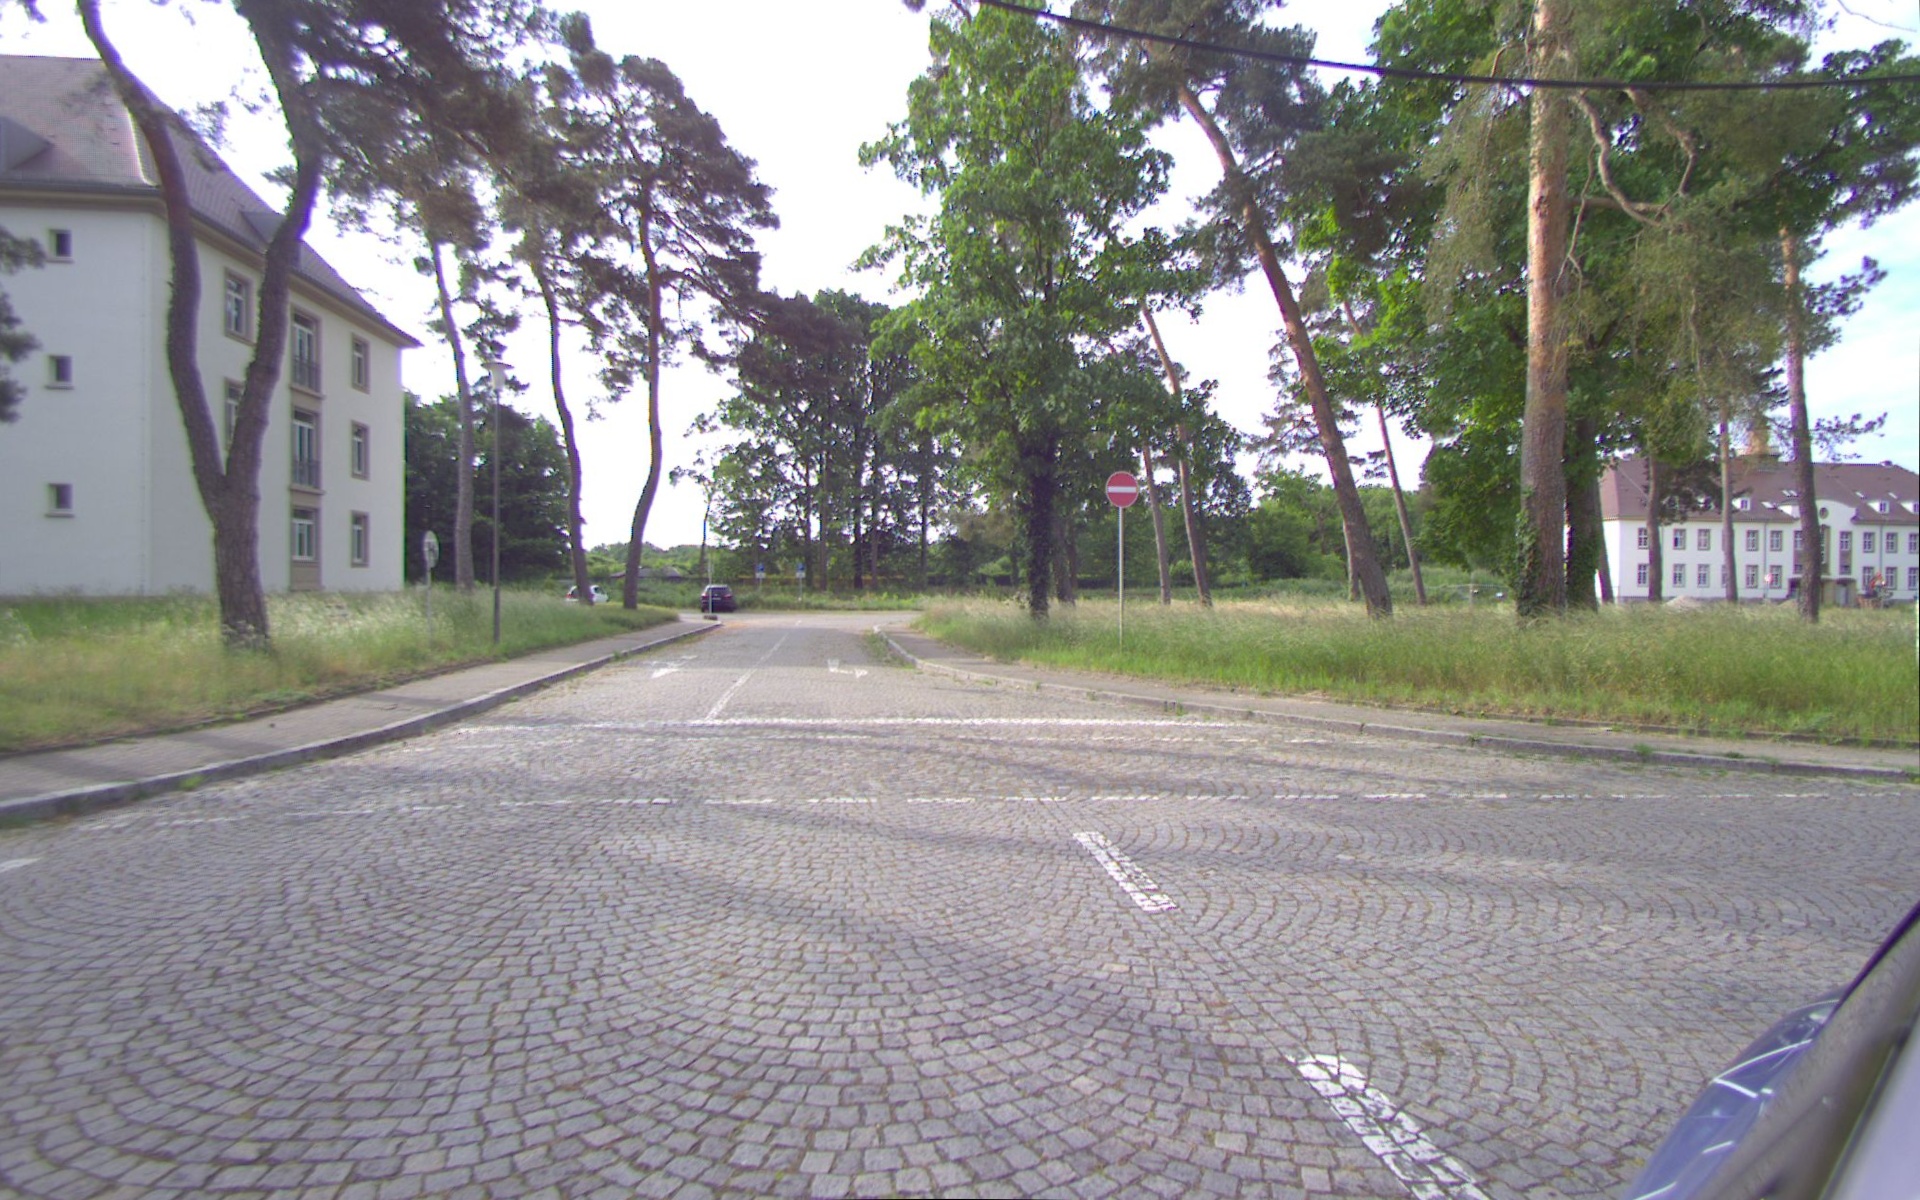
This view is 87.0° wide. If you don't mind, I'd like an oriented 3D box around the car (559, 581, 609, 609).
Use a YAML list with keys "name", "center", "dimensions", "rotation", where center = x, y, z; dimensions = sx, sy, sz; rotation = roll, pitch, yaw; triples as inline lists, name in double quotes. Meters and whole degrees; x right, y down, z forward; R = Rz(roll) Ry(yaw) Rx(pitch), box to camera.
- name: "car"
  center: [-21.182, -0.310, 57.111]
  dimensions: [1.737, 1.552, 3.699]
  rotation: [0, 1, -6]

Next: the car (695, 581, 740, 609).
- name: "car"
  center: [-13.660, -0.309, 57.250]
  dimensions: [1.960, 1.552, 4.005]
  rotation: [0, 1, -6]

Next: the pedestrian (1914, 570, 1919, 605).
- name: "pedestrian"
  center: [61.559, -0.767, 64.110]
  dimensions: [1.034, 2.205, 1.186]
  rotation: [0, 1, -7]

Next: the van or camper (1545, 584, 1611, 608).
- name: "van or camper"
  center: [64.084, -0.424, 105.096]
  dimensions: [2.414, 2.335, 6.138]
  rotation: [0, 1, -9]
